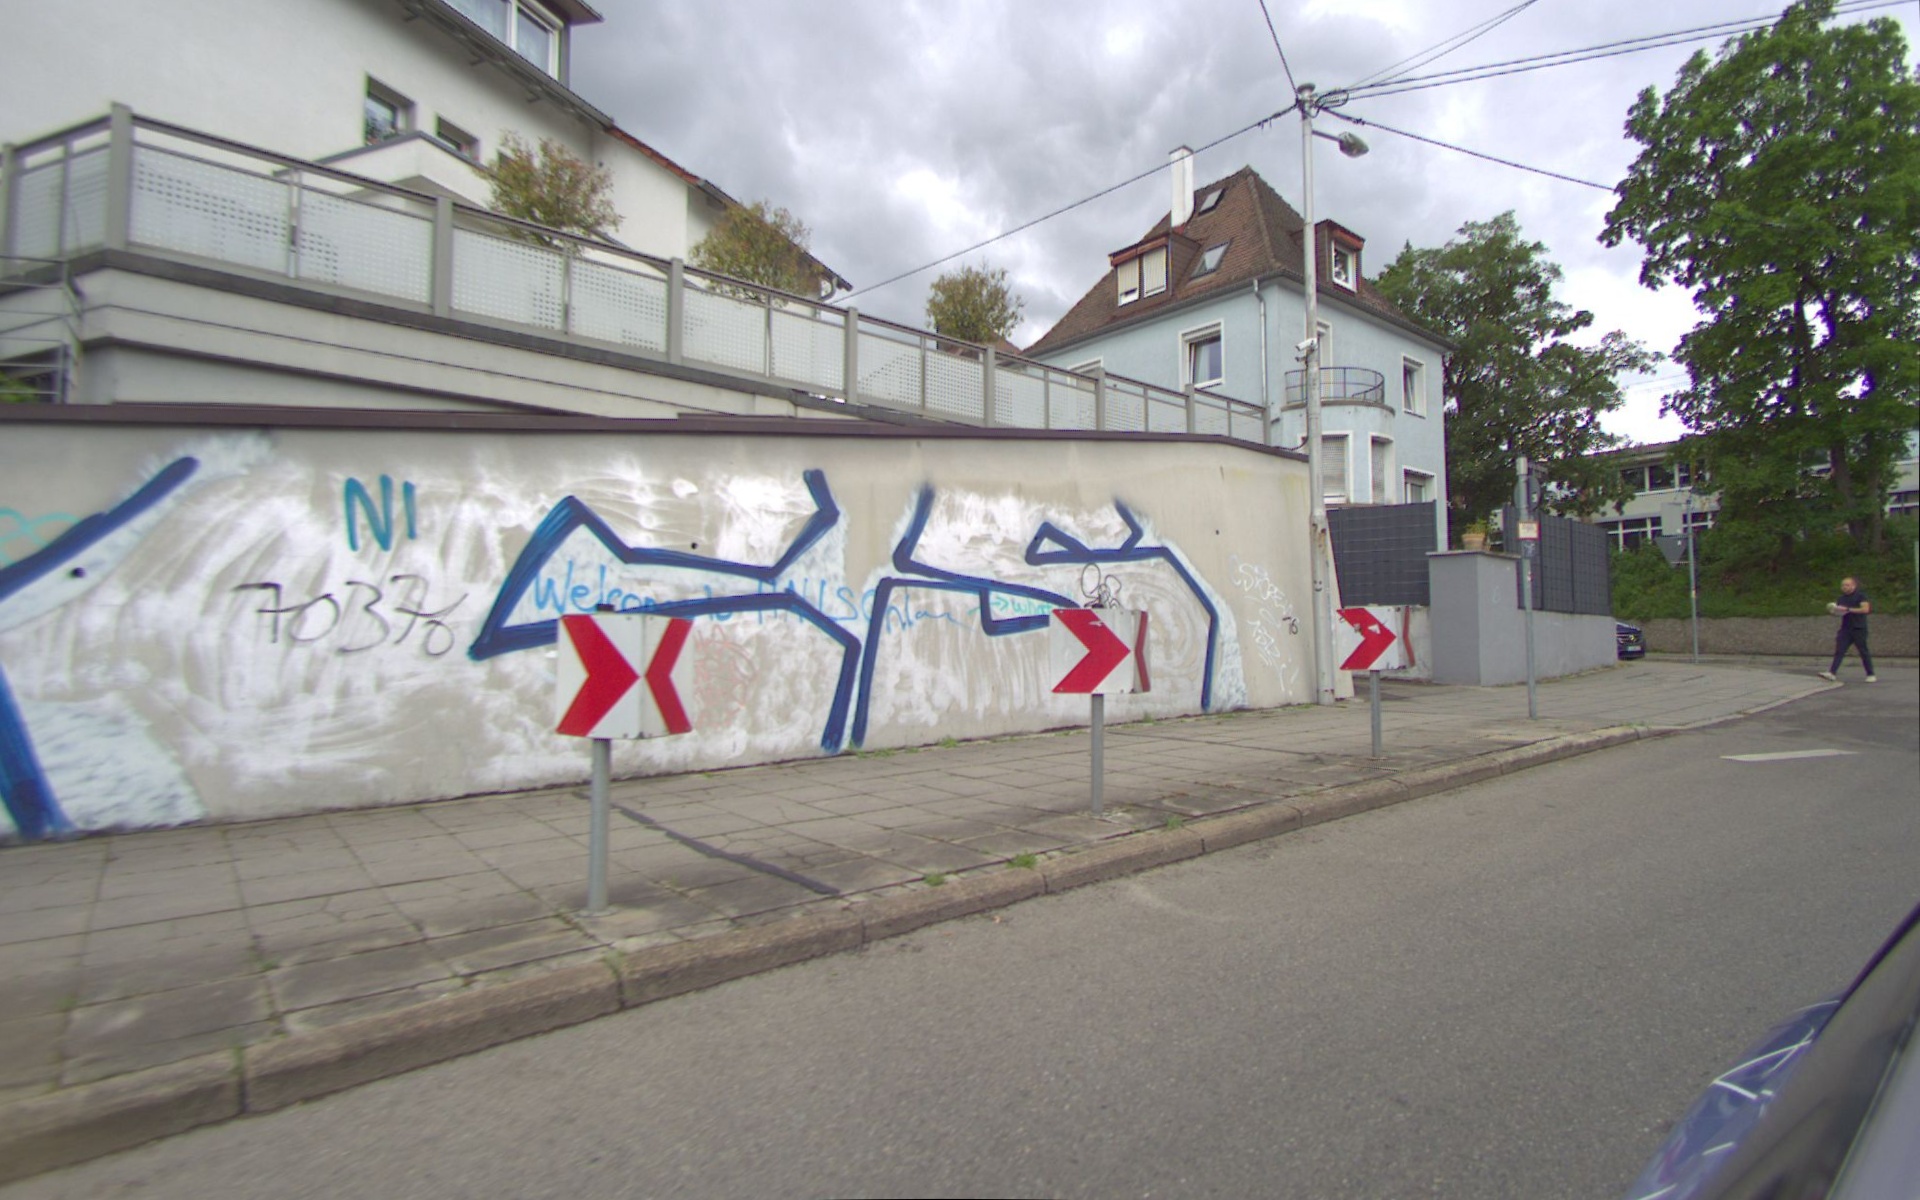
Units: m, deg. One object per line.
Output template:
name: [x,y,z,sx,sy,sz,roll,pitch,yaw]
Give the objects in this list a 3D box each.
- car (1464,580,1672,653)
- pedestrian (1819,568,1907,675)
car: [16.967,0.497,28.577,1.910,1.888,4.848,0,-2,-22]
pedestrian: [16.026,0.381,17.975,0.967,1.852,0.574,-1,-1,5]
